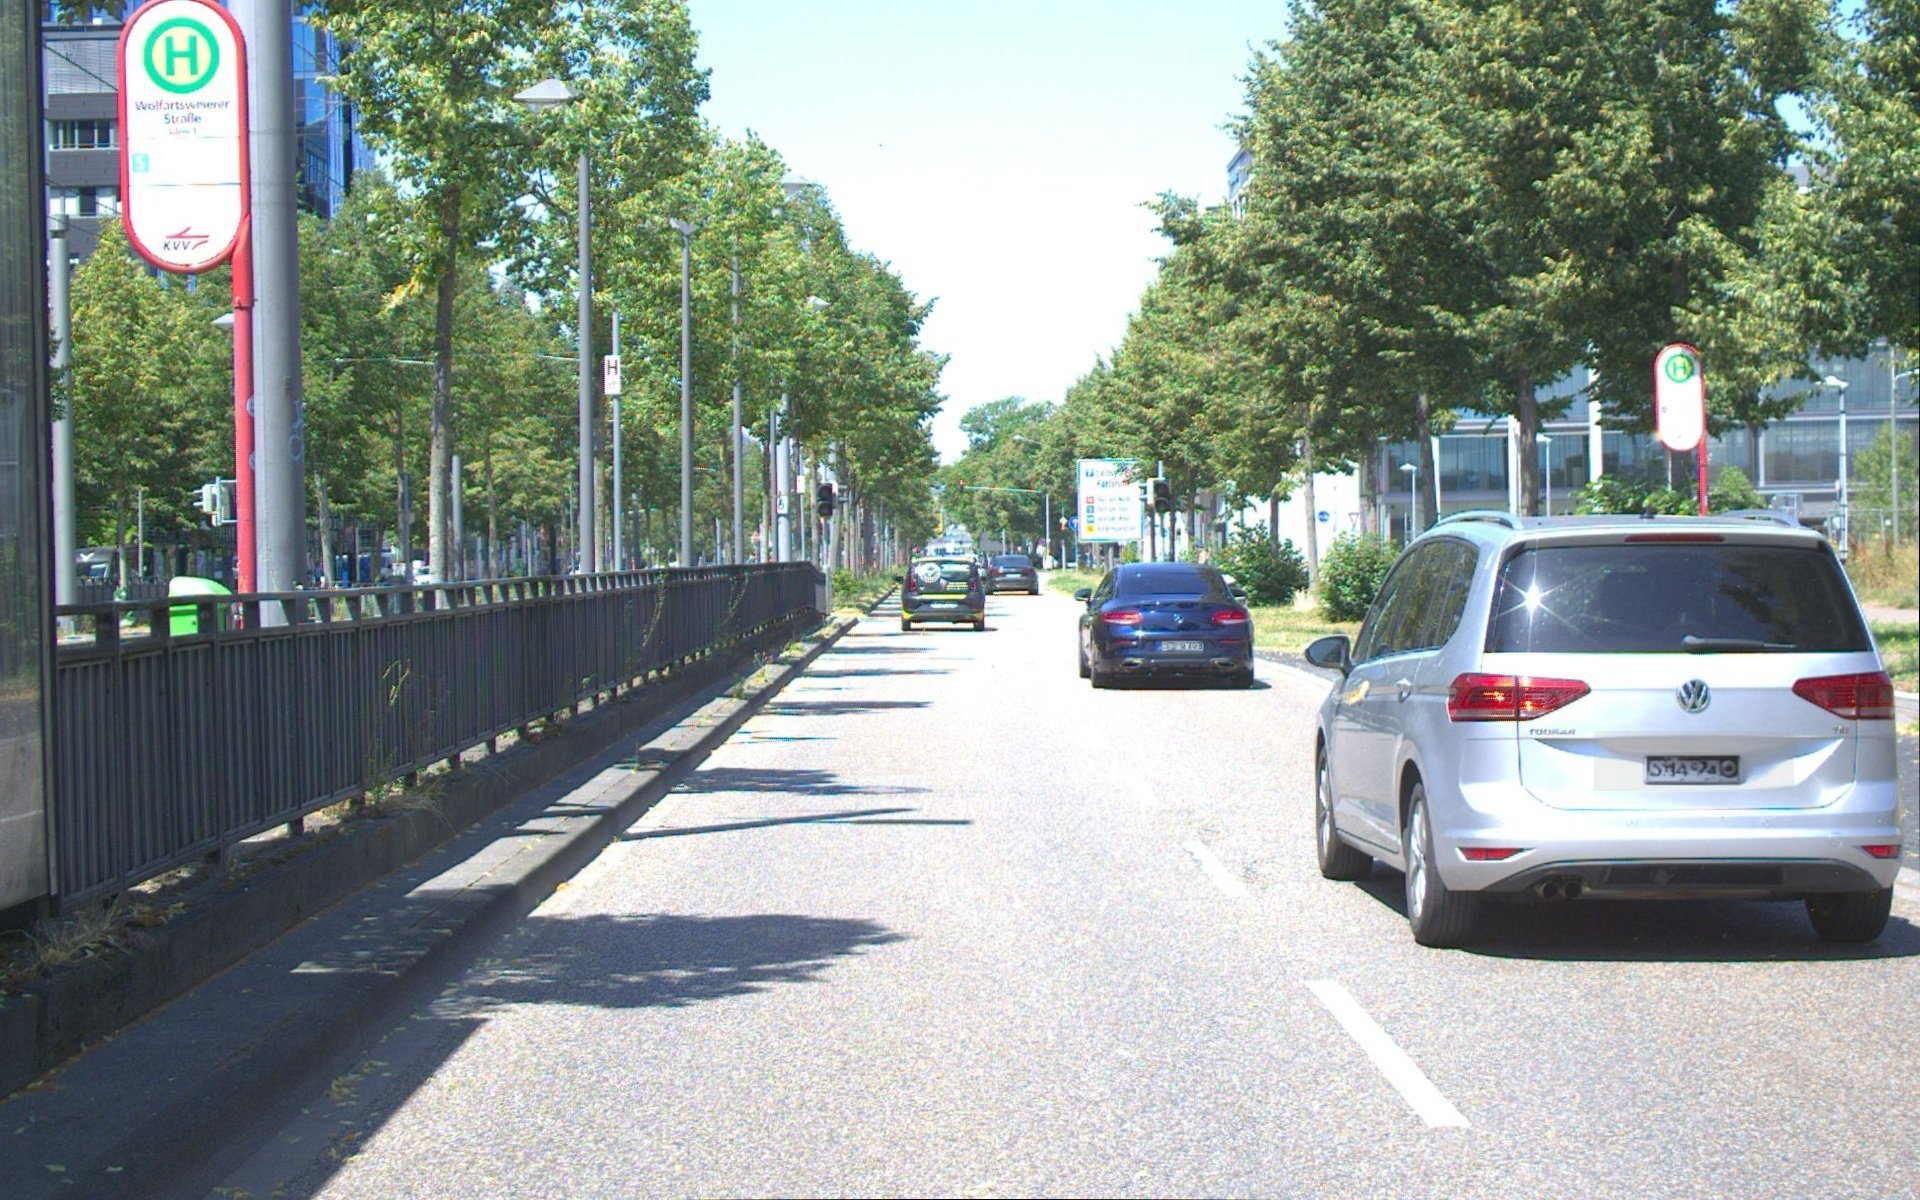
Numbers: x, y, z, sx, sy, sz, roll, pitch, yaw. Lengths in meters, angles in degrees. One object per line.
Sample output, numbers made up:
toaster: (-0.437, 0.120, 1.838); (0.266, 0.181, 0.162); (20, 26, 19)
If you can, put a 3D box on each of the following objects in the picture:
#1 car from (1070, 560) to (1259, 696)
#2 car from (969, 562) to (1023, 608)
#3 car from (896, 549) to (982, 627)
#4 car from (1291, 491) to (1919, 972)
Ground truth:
car: (2.277, 0.284, 39.437); (1.852, 1.431, 4.955); (-1, 0, 0)
car: (1.276, -0.535, 123.804); (1.766, 1.621, 3.716); (-1, 0, -2)
car: (-0.419, -0.219, 67.539); (1.618, 1.446, 3.986); (-1, 0, -1)
car: (2.515, 0.458, 14.354); (1.800, 1.643, 4.604); (1, 0, 0)
